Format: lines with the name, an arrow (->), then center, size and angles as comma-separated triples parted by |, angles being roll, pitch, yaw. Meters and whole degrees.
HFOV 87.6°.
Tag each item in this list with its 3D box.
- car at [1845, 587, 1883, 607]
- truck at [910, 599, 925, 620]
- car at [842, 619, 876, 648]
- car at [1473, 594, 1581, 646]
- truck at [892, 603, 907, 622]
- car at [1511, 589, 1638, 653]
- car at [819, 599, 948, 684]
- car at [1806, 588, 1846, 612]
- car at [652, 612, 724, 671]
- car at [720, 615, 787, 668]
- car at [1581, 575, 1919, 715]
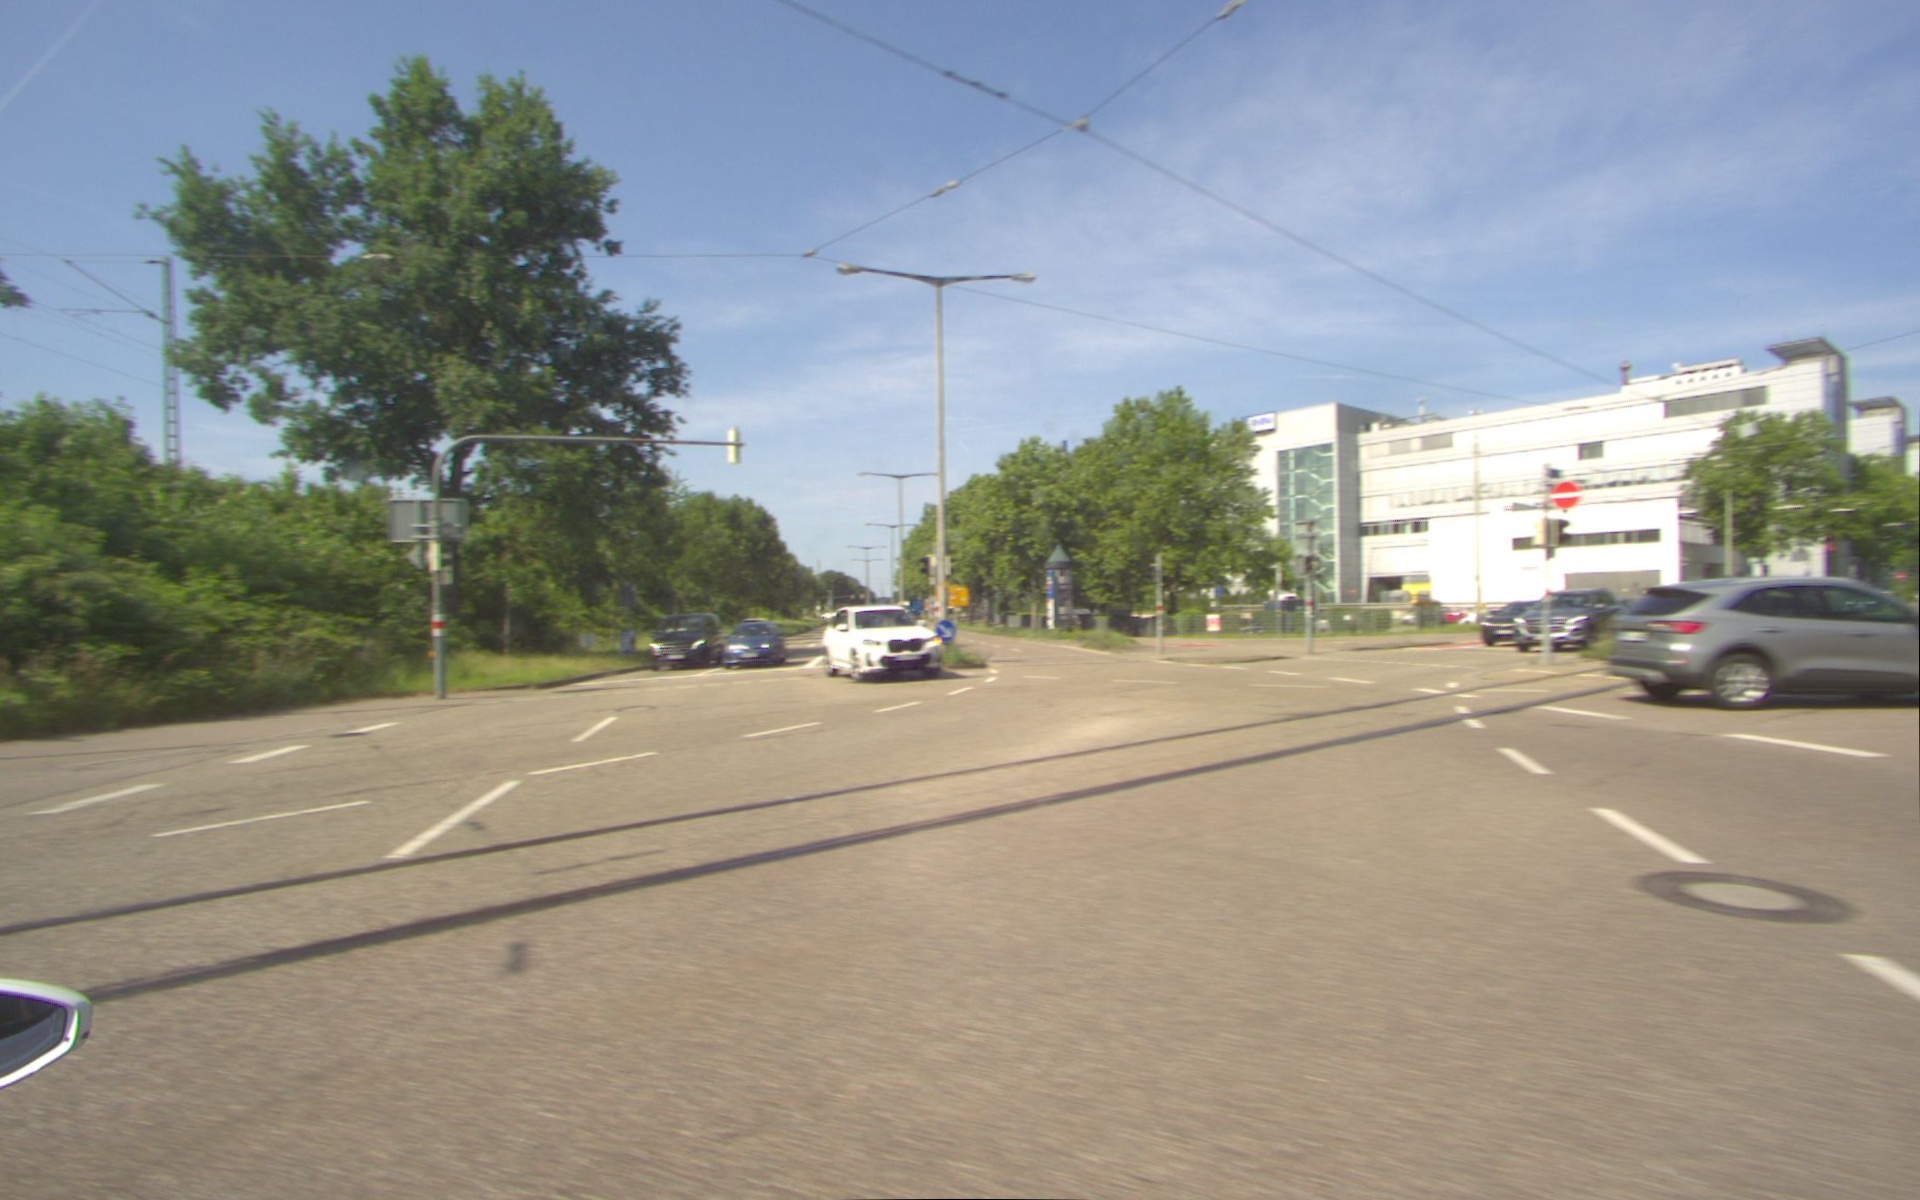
car -> 79.428, -0.260, 87.983 | 4.575, 1.711, 1.900 | -1, -1, -41
truck -> -9.530, 2.191, 226.897 | 3.139, 4.412, 13.147 | -1, -1, -2
car -> -5.393, 1.765, 53.873 | 1.687, 1.396, 4.471 | -2, 0, -5
car -> 19.821, 0.668, 34.930 | 4.577, 1.711, 1.899 | -1, -1, -42
truck -> -12.403, 2.547, 204.717 | 2.795, 3.624, 8.720 | -1, -1, -2
car -> 17.783, 0.572, 28.902 | 4.577, 1.711, 1.899 | -1, -1, -42
car -> -1.878, 0.900, 22.972 | 1.882, 1.711, 4.618 | -1, -1, -18
car -> 66.915, -0.005, 77.369 | 4.577, 1.833, 1.766 | -1, -1, -42
car -> -9.189, 1.356, 34.136 | 1.820, 1.838, 3.999 | -1, -1, -7
car -> -6.682, 1.316, 32.796 | 1.820, 1.582, 3.999 | -1, -1, -7
car -> 11.076, 0.553, 13.099 | 4.567, 1.672, 1.996 | -1, 0, 9
